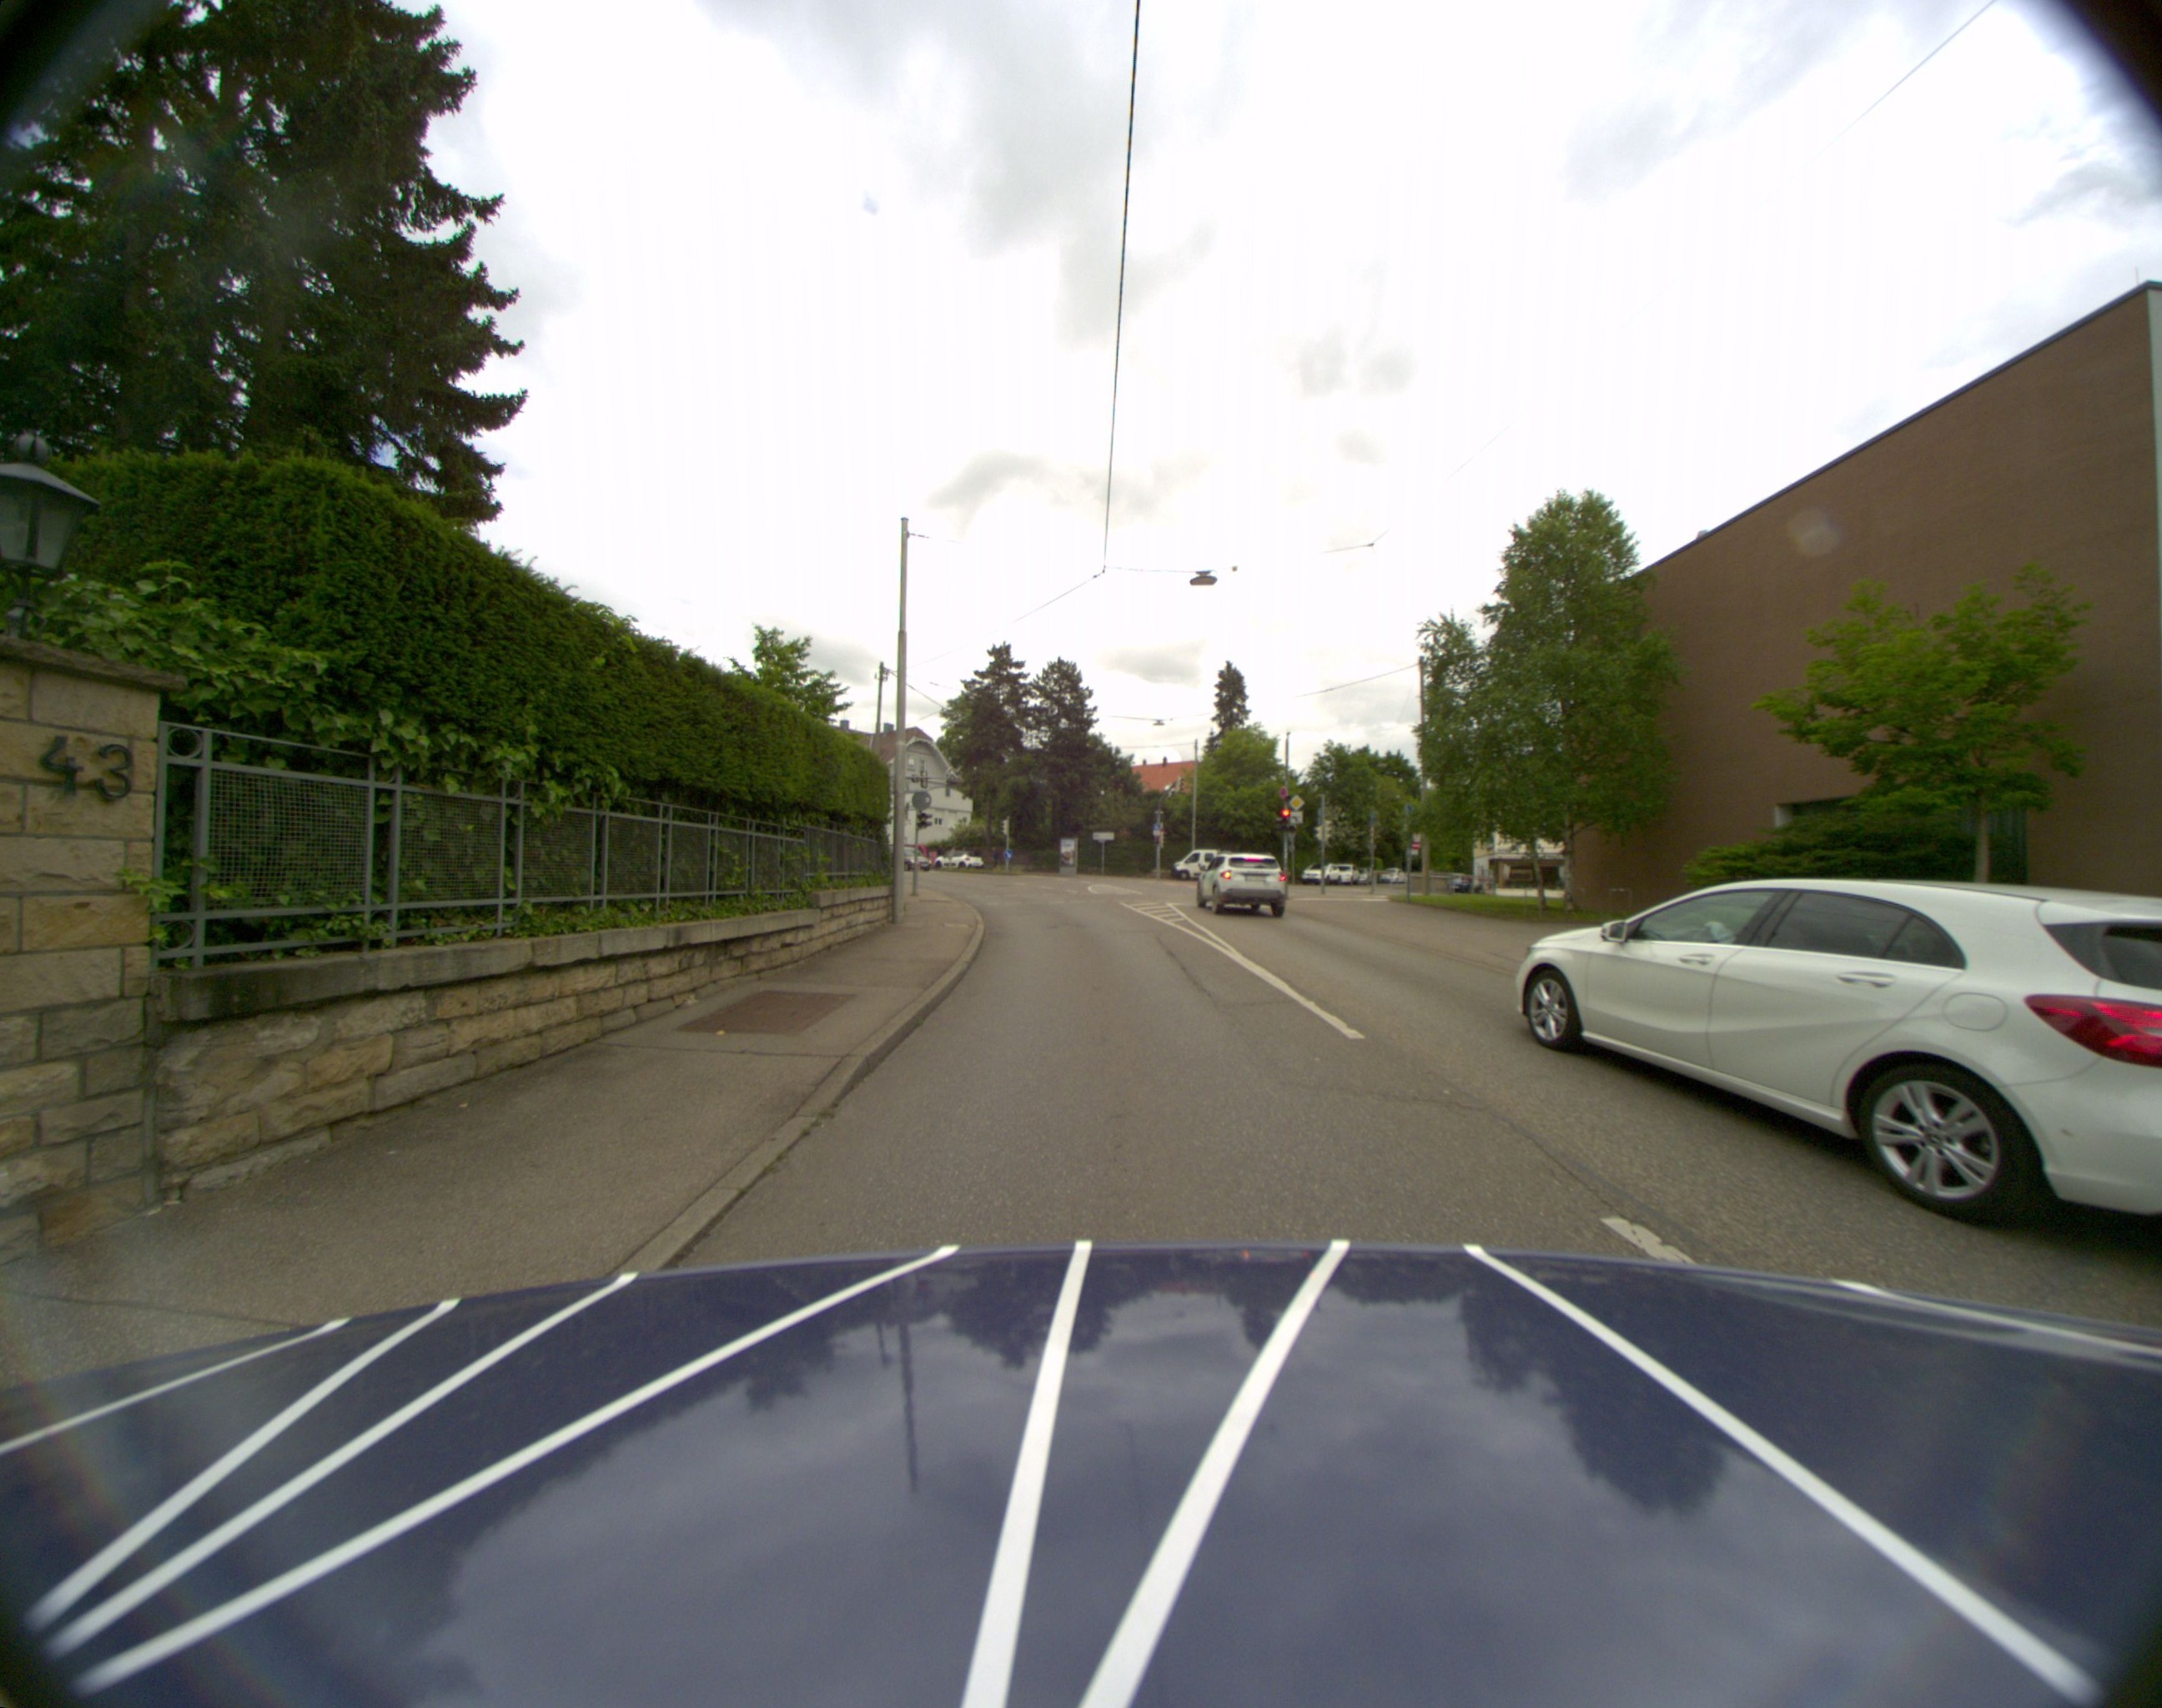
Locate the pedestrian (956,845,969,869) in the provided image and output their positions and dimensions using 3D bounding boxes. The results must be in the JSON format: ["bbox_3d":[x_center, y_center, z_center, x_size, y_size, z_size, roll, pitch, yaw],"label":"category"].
[{"bbox_3d":[-9.126,0.229,58.628,0.665,1.777,0.614,3,0,26],"label":"pedestrian"}]

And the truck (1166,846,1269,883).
[{"bbox_3d":[9.441,0.675,52.585,6.706,2.176,2.532,3,1,12],"label":"truck"}]

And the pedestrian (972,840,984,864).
[{"bbox_3d":[-8.058,-0.141,59.455,0.611,1.824,0.605,3,0,28],"label":"pedestrian"}]

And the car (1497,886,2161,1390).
[{"bbox_3d":[4.395,1.033,4.360,1.771,1.413,4.065,3,0,1],"label":"car"}]

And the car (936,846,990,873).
[{"bbox_3d":[-8.448,0.389,54.173,3.743,1.432,1.705,8,3,42],"label":"car"}]

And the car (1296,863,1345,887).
[{"bbox_3d":[17.347,1.503,54.888,1.994,1.603,4.010,3,0,39],"label":"car"}]

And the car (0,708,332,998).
[{"bbox_3d":[-8.254,-0.276,5.234,3.997,1.603,2.000,10,0,0],"label":"car"}]

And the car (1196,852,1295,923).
[{"bbox_3d":[4.378,0.824,20.876,1.773,1.628,4.302,4,0,1],"label":"car"}]

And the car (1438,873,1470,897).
[{"bbox_3d":[25.832,2.111,52.628,1.876,1.440,4.008,3,0,26],"label":"car"}]

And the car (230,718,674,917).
[{"bbox_3d":[-7.483,-0.403,9.359,3.749,1.603,1.814,10,0,0],"label":"car"}]

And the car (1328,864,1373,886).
[{"bbox_3d":[21.030,1.641,59.143,1.994,1.603,4.010,3,0,39],"label":"car"}]

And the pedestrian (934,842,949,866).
[{"bbox_3d":[-10.906,-0.014,59.258,0.686,1.803,0.882,3,1,29],"label":"pedestrian"}]

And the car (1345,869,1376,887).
[{"bbox_3d":[23.710,2.041,64.462,1.867,1.445,3.739,1,0,30],"label":"car"}]

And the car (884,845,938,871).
[{"bbox_3d":[-11.112,0.222,49.517,1.622,1.571,3.989,0,2,-44],"label":"car"}]

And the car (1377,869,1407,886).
[{"bbox_3d":[31.624,2.378,77.212,1.866,1.577,3.739,2,0,36],"label":"car"}]
